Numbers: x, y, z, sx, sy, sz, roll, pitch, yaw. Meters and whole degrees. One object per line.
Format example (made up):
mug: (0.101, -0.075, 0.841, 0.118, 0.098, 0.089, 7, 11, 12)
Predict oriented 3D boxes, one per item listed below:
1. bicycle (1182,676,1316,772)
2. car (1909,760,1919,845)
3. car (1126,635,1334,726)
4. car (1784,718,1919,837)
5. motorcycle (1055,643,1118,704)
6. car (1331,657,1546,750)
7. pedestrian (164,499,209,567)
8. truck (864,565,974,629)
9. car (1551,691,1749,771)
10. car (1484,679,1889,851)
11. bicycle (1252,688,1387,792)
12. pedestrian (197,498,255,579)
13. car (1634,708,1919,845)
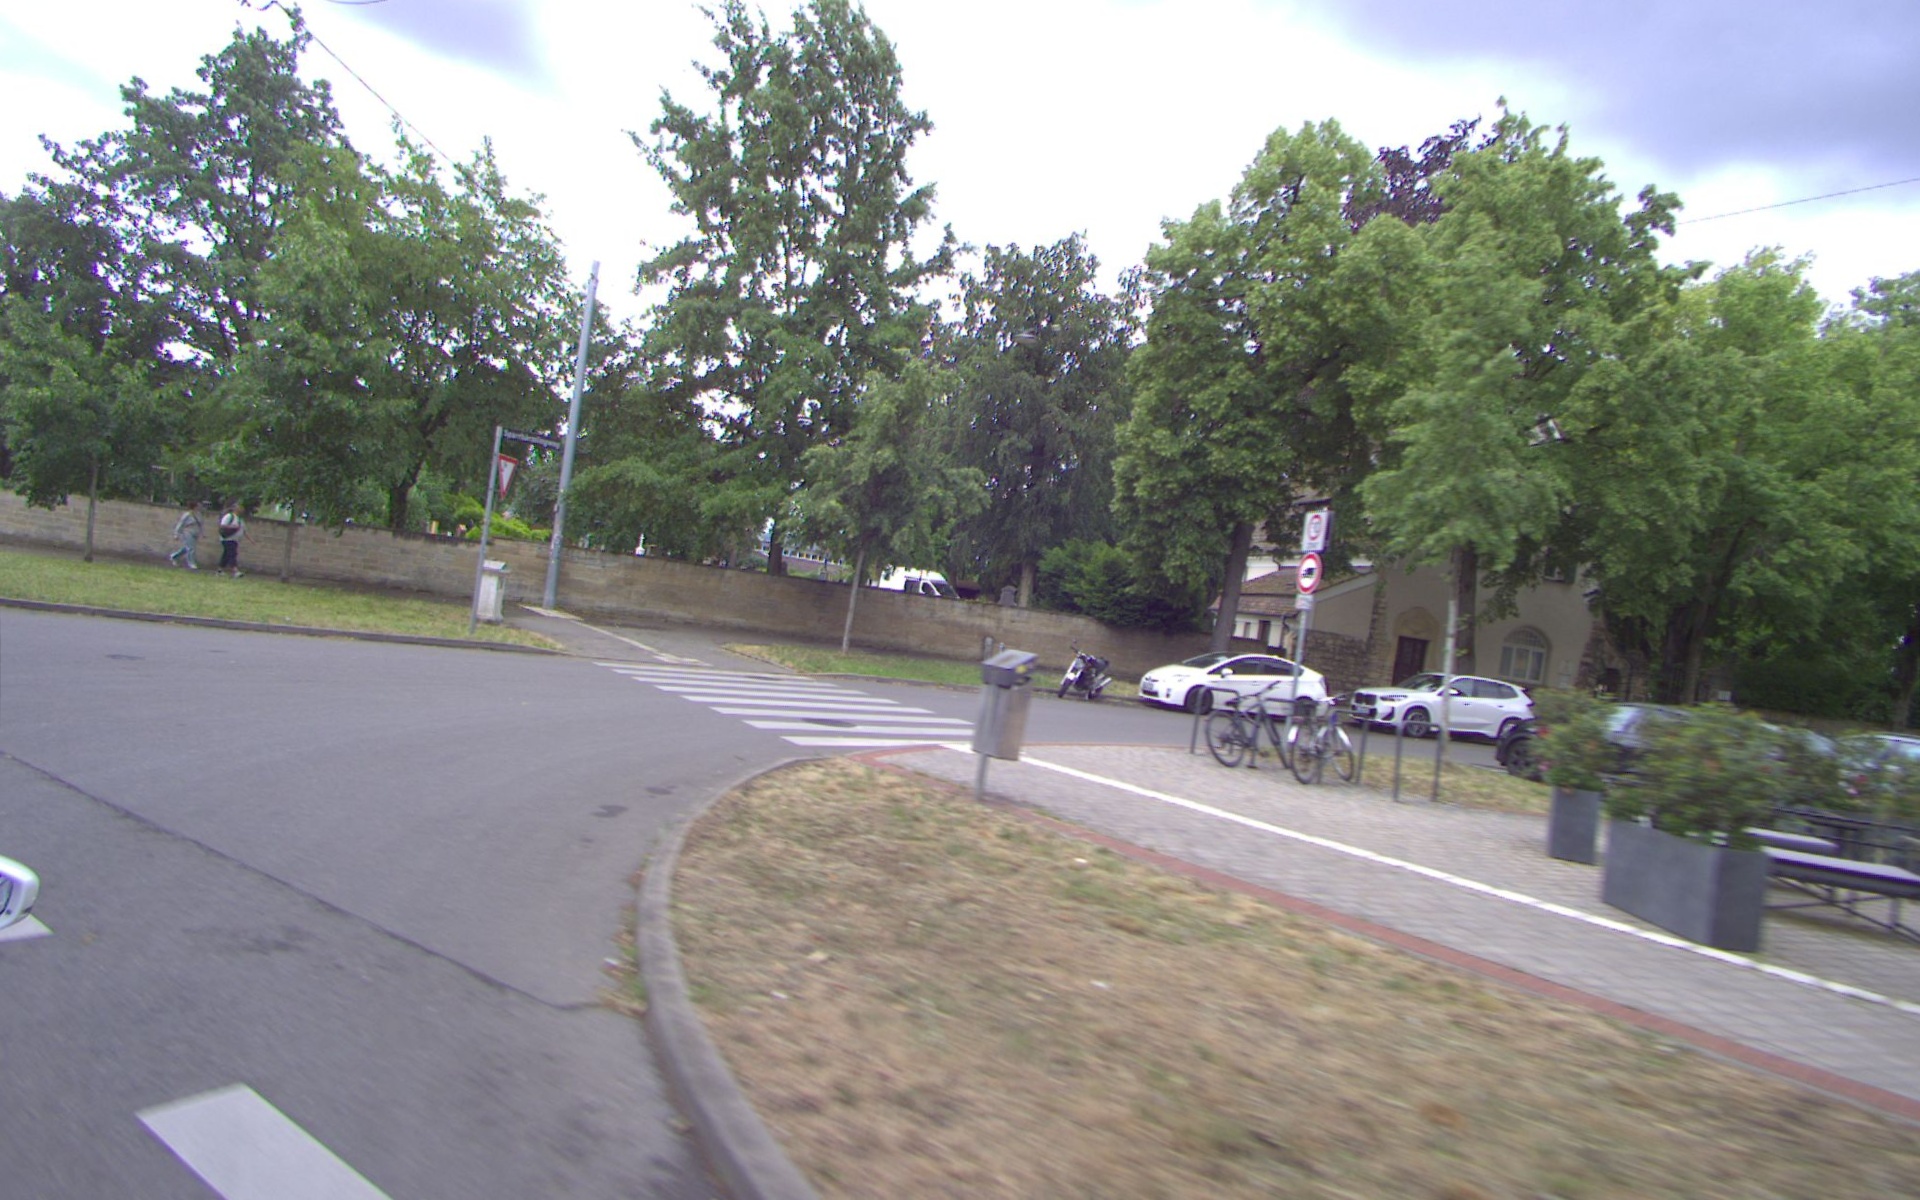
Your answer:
bicycle: (3.744, 1.581, 12.909, 0.593, 1.079, 2.174, 7, 0, 44)
car: (17.414, 3.516, 15.864, 1.454, 1.416, 3.164, 9, -3, -22)
car: (6.217, 1.851, 23.270, 4.213, 1.517, 1.806, 7, 0, -16)
car: (14.881, 2.840, 15.335, 1.528, 1.553, 3.146, 9, -2, -20)
motorcycle: (2.831, 1.643, 22.325, 0.551, 1.182, 1.998, 6, -3, 30)
car: (11.642, 2.503, 24.577, 4.302, 1.615, 1.995, 7, 0, -13)
pedestrian: (-19.333, -1.662, 25.160, 0.564, 1.606, 0.581, 7, 3, -1)
truck: (-2.332, -0.181, 56.155, 5.677, 2.866, 2.218, 6, -3, 36)
car: (17.968, 3.410, 26.239, 4.304, 1.453, 1.792, 7, 0, -15)
car: (10.293, 2.269, 14.732, 1.972, 1.615, 4.354, 7, -1, -20)
bicycle: (4.388, 1.668, 12.171, 0.593, 1.079, 2.174, 7, 0, 44)
pedestrian: (-17.042, -1.403, 23.376, 0.649, 1.755, 0.711, 8, 0, -6)
car: (12.487, 2.617, 15.343, 1.528, 1.373, 3.280, 9, -1, -20)
